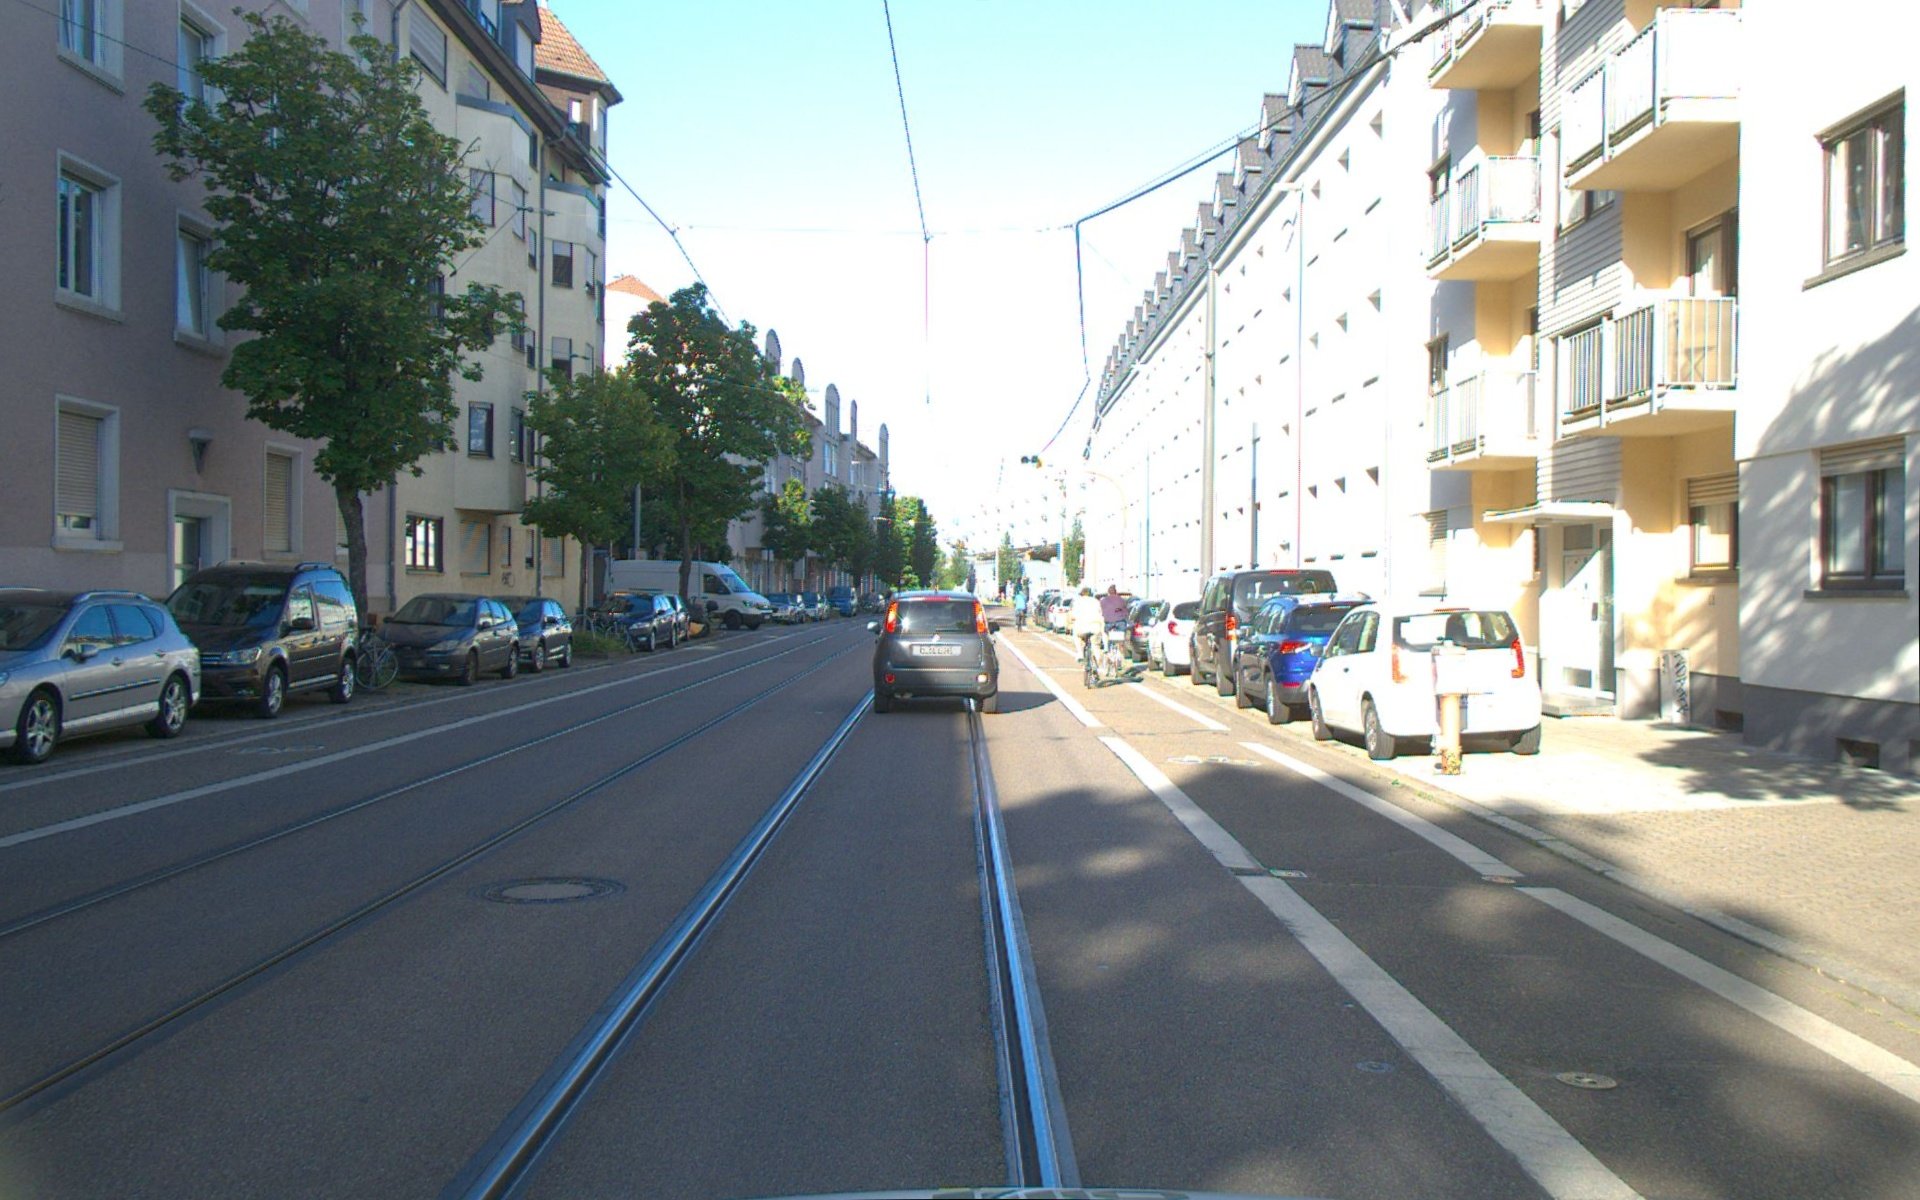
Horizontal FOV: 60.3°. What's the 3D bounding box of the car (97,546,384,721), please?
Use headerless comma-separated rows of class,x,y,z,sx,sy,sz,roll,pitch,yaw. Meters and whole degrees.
car,-9.040,0.368,21.208,1.771,1.977,4.333,1,0,0

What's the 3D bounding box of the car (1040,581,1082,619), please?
car,4.471,-0.007,73.629,1.551,1.627,3.376,1,0,-1

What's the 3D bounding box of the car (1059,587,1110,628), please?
car,4.617,0.257,61.641,1.551,1.430,3.376,1,0,-1

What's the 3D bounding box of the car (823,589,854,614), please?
car,-7.841,0.077,107.348,1.672,1.523,3.722,1,0,1

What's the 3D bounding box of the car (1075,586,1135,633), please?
car,4.624,0.270,53.161,1.551,1.430,3.376,1,0,-1

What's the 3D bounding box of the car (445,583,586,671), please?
car,-8.999,0.500,33.787,1.771,1.648,4.064,1,0,0

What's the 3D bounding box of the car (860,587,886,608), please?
car,-6.441,-0.186,123.177,1.672,1.523,3.722,1,0,1

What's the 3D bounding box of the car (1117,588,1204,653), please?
car,4.688,0.457,38.995,1.551,1.430,3.376,1,0,-1

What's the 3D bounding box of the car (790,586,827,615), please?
car,-8.524,0.013,93.227,1.672,1.523,3.722,1,0,1

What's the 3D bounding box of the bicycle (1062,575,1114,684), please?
bicycle,2.173,0.479,28.304,0.661,1.777,2.157,1,0,-1

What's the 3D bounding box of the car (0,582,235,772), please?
car,-8.771,0.617,15.614,1.771,1.534,4.680,1,0,0

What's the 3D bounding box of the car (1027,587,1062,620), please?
car,4.301,0.181,84.636,1.551,1.627,3.376,1,0,-1

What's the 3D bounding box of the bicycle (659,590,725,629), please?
bicycle,-9.498,0.340,58.623,2.231,1.310,0.757,1,0,-5

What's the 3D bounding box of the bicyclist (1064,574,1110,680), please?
bicyclist,2.174,0.453,28.299,0.685,1.790,0.757,1,0,-1

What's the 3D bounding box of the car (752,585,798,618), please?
car,-8.806,0.063,78.940,1.672,1.523,3.722,1,0,1

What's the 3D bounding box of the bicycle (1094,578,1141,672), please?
bicycle,3.073,0.461,32.457,0.661,1.777,2.157,1,0,-1

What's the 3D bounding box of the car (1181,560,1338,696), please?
car,4.732,0.401,26.751,1.622,1.978,4.664,1,0,-1

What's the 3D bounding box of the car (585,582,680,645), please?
car,-8.762,0.343,44.509,1.797,1.583,3.999,1,0,-1

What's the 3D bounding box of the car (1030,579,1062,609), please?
car,4.872,-0.328,93.987,1.551,1.627,3.376,1,0,-1

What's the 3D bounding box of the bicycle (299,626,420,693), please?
bicycle,-9.016,0.891,24.854,1.599,0.953,0.516,1,0,-4

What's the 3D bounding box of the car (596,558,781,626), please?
car,-10.516,-0.336,64.178,6.755,2.445,2.177,1,0,15

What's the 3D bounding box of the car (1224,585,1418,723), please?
car,4.593,0.627,21.566,1.622,1.598,3.875,1,0,-1

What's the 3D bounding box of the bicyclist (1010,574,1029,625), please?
bicyclist,2.432,-0.013,67.529,0.700,2.049,0.831,1,0,-1

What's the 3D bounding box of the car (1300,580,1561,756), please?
car,4.702,0.614,17.002,1.622,1.598,3.498,1,0,-1

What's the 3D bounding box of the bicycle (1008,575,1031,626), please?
bicycle,2.427,0.016,67.599,0.726,2.049,2.811,1,0,-1

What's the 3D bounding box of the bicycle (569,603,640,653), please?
bicycle,-8.940,0.710,41.654,1.694,1.217,0.372,1,0,-4

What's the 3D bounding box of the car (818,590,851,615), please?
car,-7.720,0.132,102.301,1.672,1.523,3.722,1,0,1

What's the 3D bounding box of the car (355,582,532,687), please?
car,-8.838,0.538,28.658,1.771,1.648,4.064,1,0,0

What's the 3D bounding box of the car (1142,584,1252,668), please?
car,4.545,0.468,32.067,1.622,1.526,3.129,1,0,-1

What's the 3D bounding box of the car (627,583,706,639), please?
car,-8.825,0.306,49.909,1.797,1.583,3.376,1,0,-1

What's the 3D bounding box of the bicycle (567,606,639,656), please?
bicycle,-8.890,0.773,41.259,1.694,1.217,0.372,1,0,-4

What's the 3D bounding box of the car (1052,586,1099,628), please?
car,4.581,0.252,66.079,1.551,1.627,3.376,1,0,-1

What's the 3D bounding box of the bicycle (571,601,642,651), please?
bicycle,-8.983,0.656,42.068,1.694,1.217,0.372,1,0,-4

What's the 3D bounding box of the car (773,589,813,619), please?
car,-8.914,0.205,88.395,1.672,1.523,3.722,1,0,1

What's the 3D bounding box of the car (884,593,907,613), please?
car,-5.215,0.212,134.726,1.672,1.523,3.722,1,0,1

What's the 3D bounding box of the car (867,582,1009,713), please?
car,-0.205,0.563,22.392,1.615,1.568,4.236,1,1,3

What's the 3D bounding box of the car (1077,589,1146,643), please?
car,4.325,0.436,47.691,1.551,1.429,3.376,-3,0,-1

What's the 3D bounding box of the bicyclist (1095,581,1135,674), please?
bicyclist,3.042,0.526,32.500,0.685,1.790,0.757,1,0,-1
